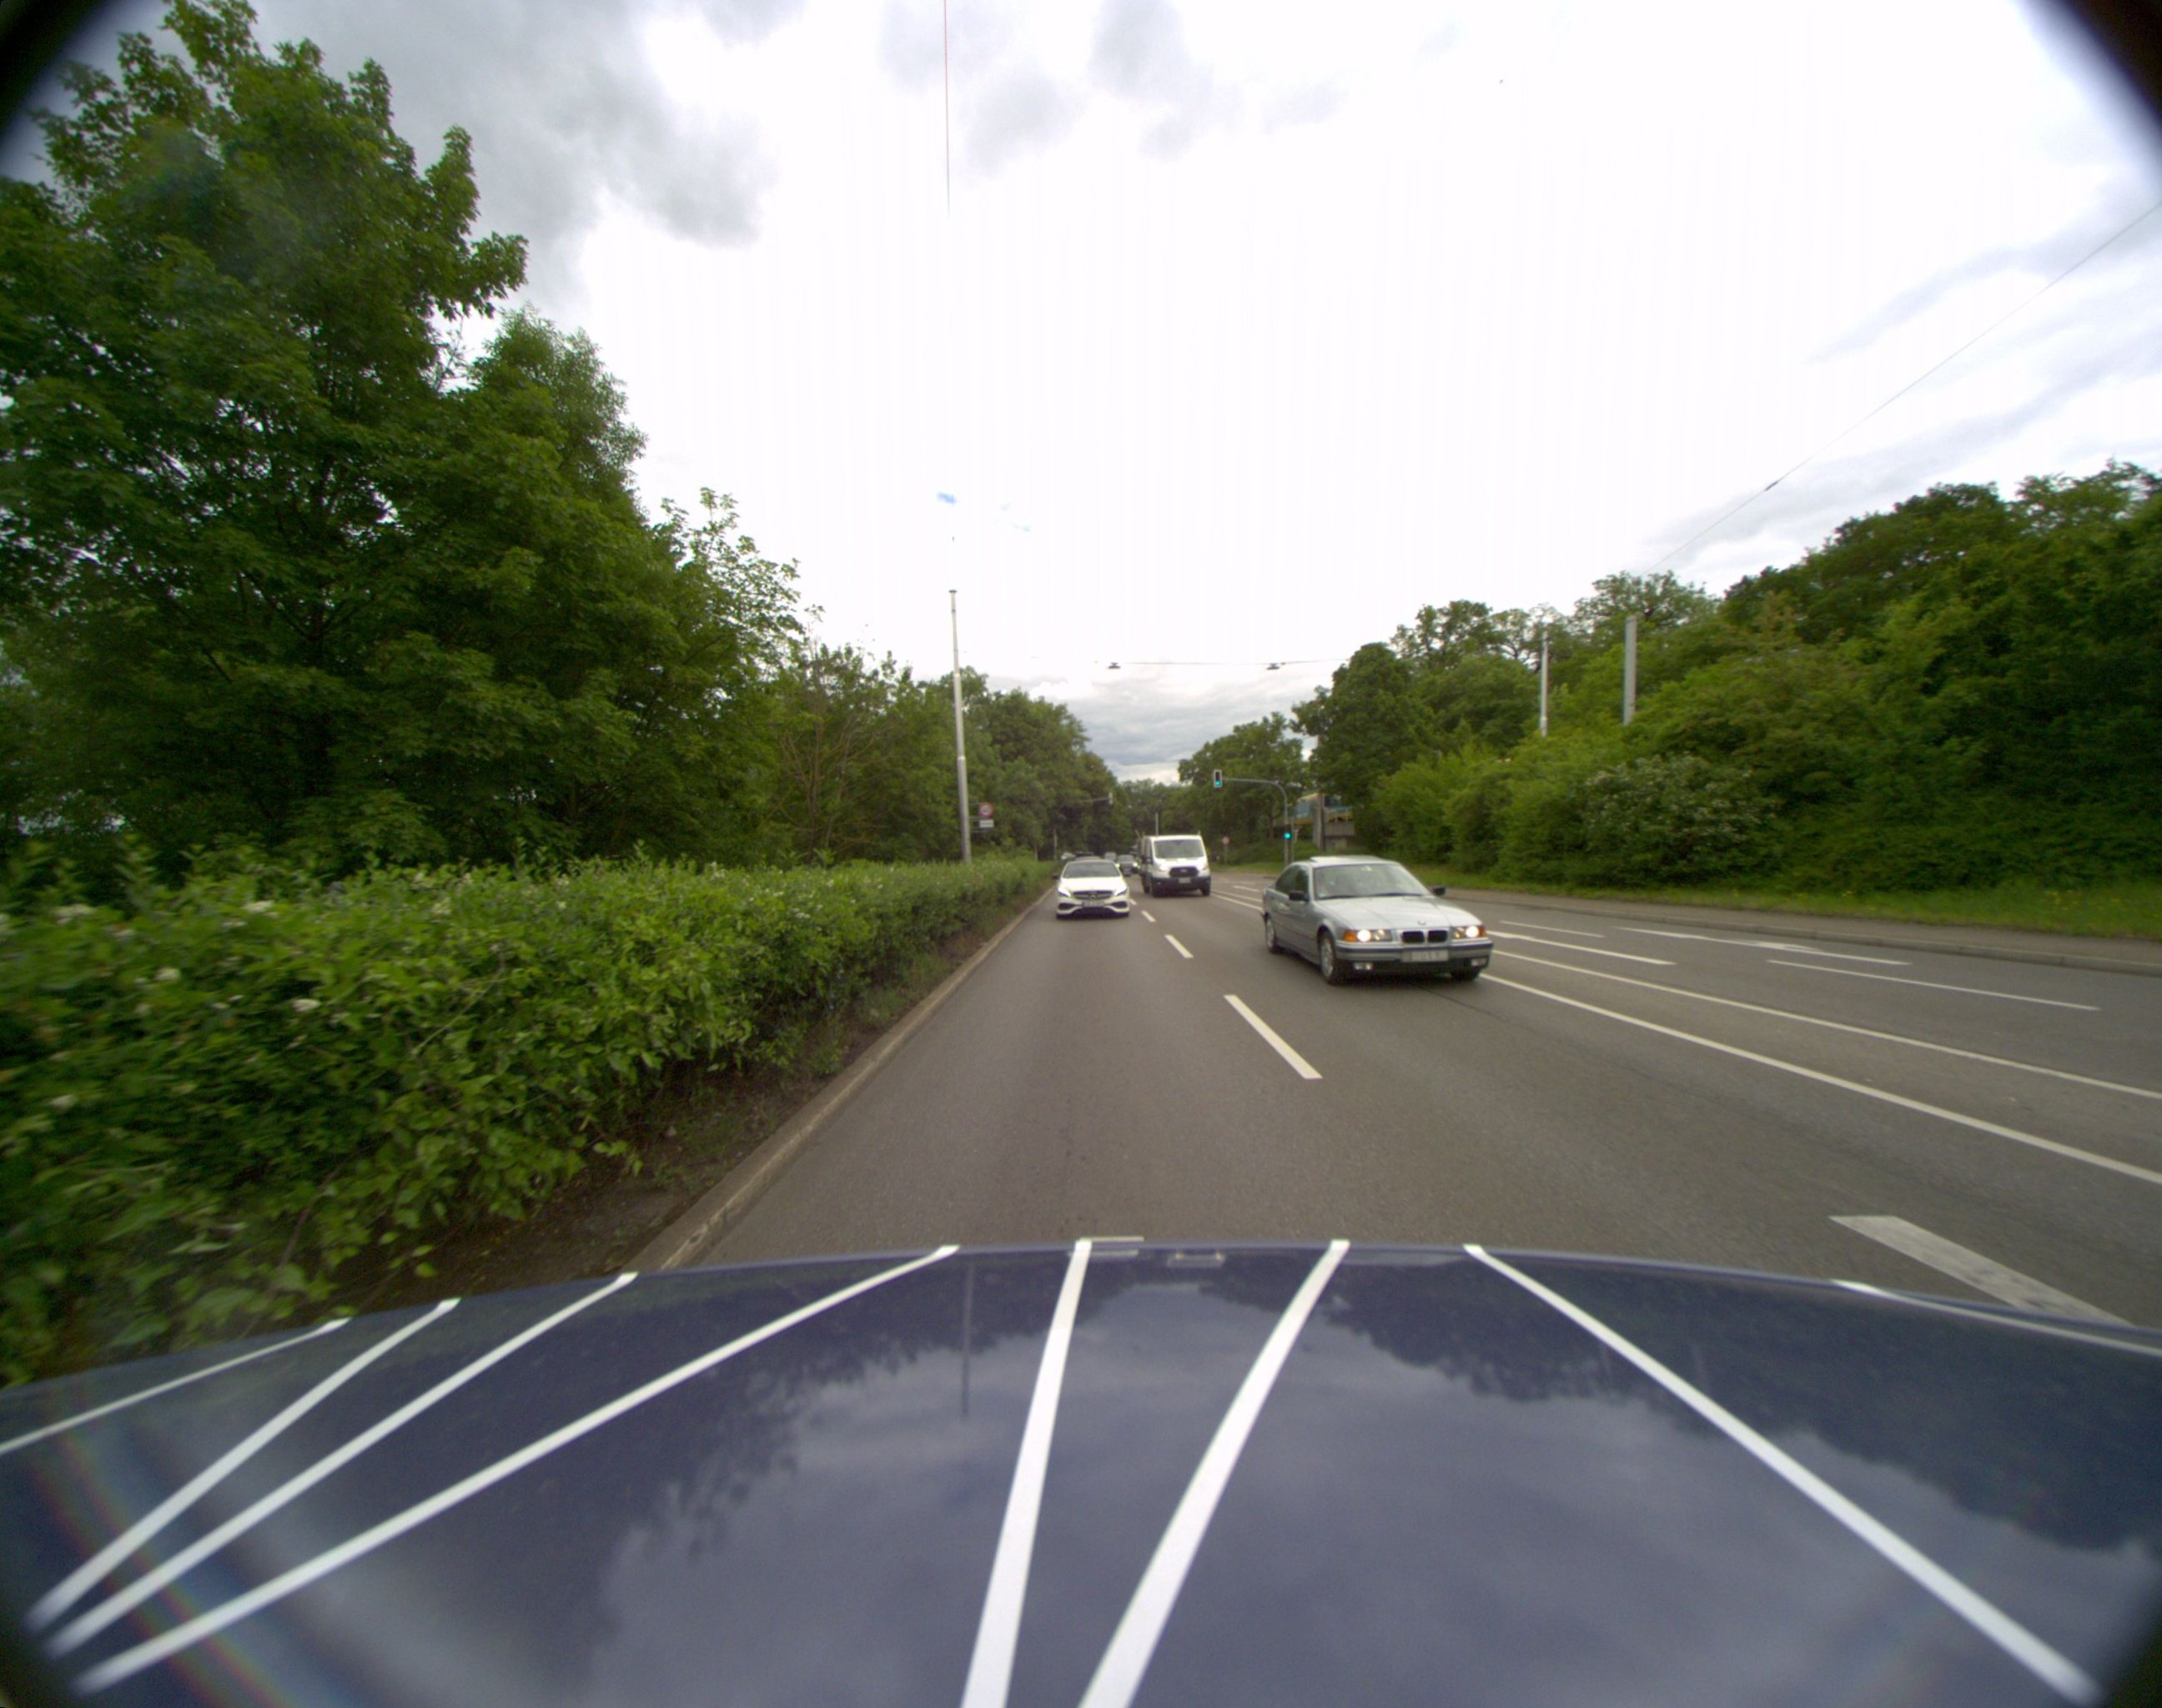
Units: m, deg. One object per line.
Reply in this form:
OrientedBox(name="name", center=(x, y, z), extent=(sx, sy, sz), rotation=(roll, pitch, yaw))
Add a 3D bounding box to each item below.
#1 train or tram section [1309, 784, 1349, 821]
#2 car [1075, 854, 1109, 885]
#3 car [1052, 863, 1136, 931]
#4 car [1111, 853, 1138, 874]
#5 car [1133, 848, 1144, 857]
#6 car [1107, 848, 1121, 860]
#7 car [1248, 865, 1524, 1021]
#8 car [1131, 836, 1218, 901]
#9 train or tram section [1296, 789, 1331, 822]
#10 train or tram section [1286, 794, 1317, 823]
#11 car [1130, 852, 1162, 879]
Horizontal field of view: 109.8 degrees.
OrientedBox(name="train or tram section", center=(23.532, -4.801, 72.307), extent=(2.061, 3.026, 8.154), rotation=(-2, 1, 7))
OrientedBox(name="car", center=(0.530, 0.777, 40.835), extent=(1.678, 1.532, 4.614), rotation=(-1, 0, -1))
OrientedBox(name="car", center=(0.291, 0.970, 18.784), extent=(1.807, 1.385, 4.283), rotation=(-1, 0, 0))
OrientedBox(name="car", center=(3.405, 0.741, 60.155), extent=(1.678, 1.532, 4.614), rotation=(-2, 0, -1))
OrientedBox(name="car", center=(12.330, -0.283, 163.035), extent=(1.761, 1.863, 4.618), rotation=(-1, 0, 10))
OrientedBox(name="car", center=(4.251, -0.012, 97.603), extent=(1.677, 1.532, 4.615), rotation=(-1, 0, 1))
OrientedBox(name="car", center=(3.426, 0.885, 9.577), extent=(1.757, 1.385, 4.615), rotation=(-1, 0, 2))
OrientedBox(name="car", center=(3.325, 0.466, 28.574), extent=(2.253, 2.113, 6.668), rotation=(-2, 0, -1))
OrientedBox(name="train or tram section", center=(24.518, -5.051, 80.419), extent=(2.061, 3.026, 8.154), rotation=(-2, 1, 7))
OrientedBox(name="train or tram section", center=(25.684, -5.286, 88.716), extent=(2.061, 3.026, 8.154), rotation=(-2, 1, 7))
OrientedBox(name="car", center=(4.006, 0.675, 47.293), extent=(1.677, 1.532, 4.553), rotation=(-1, 0, 1))
